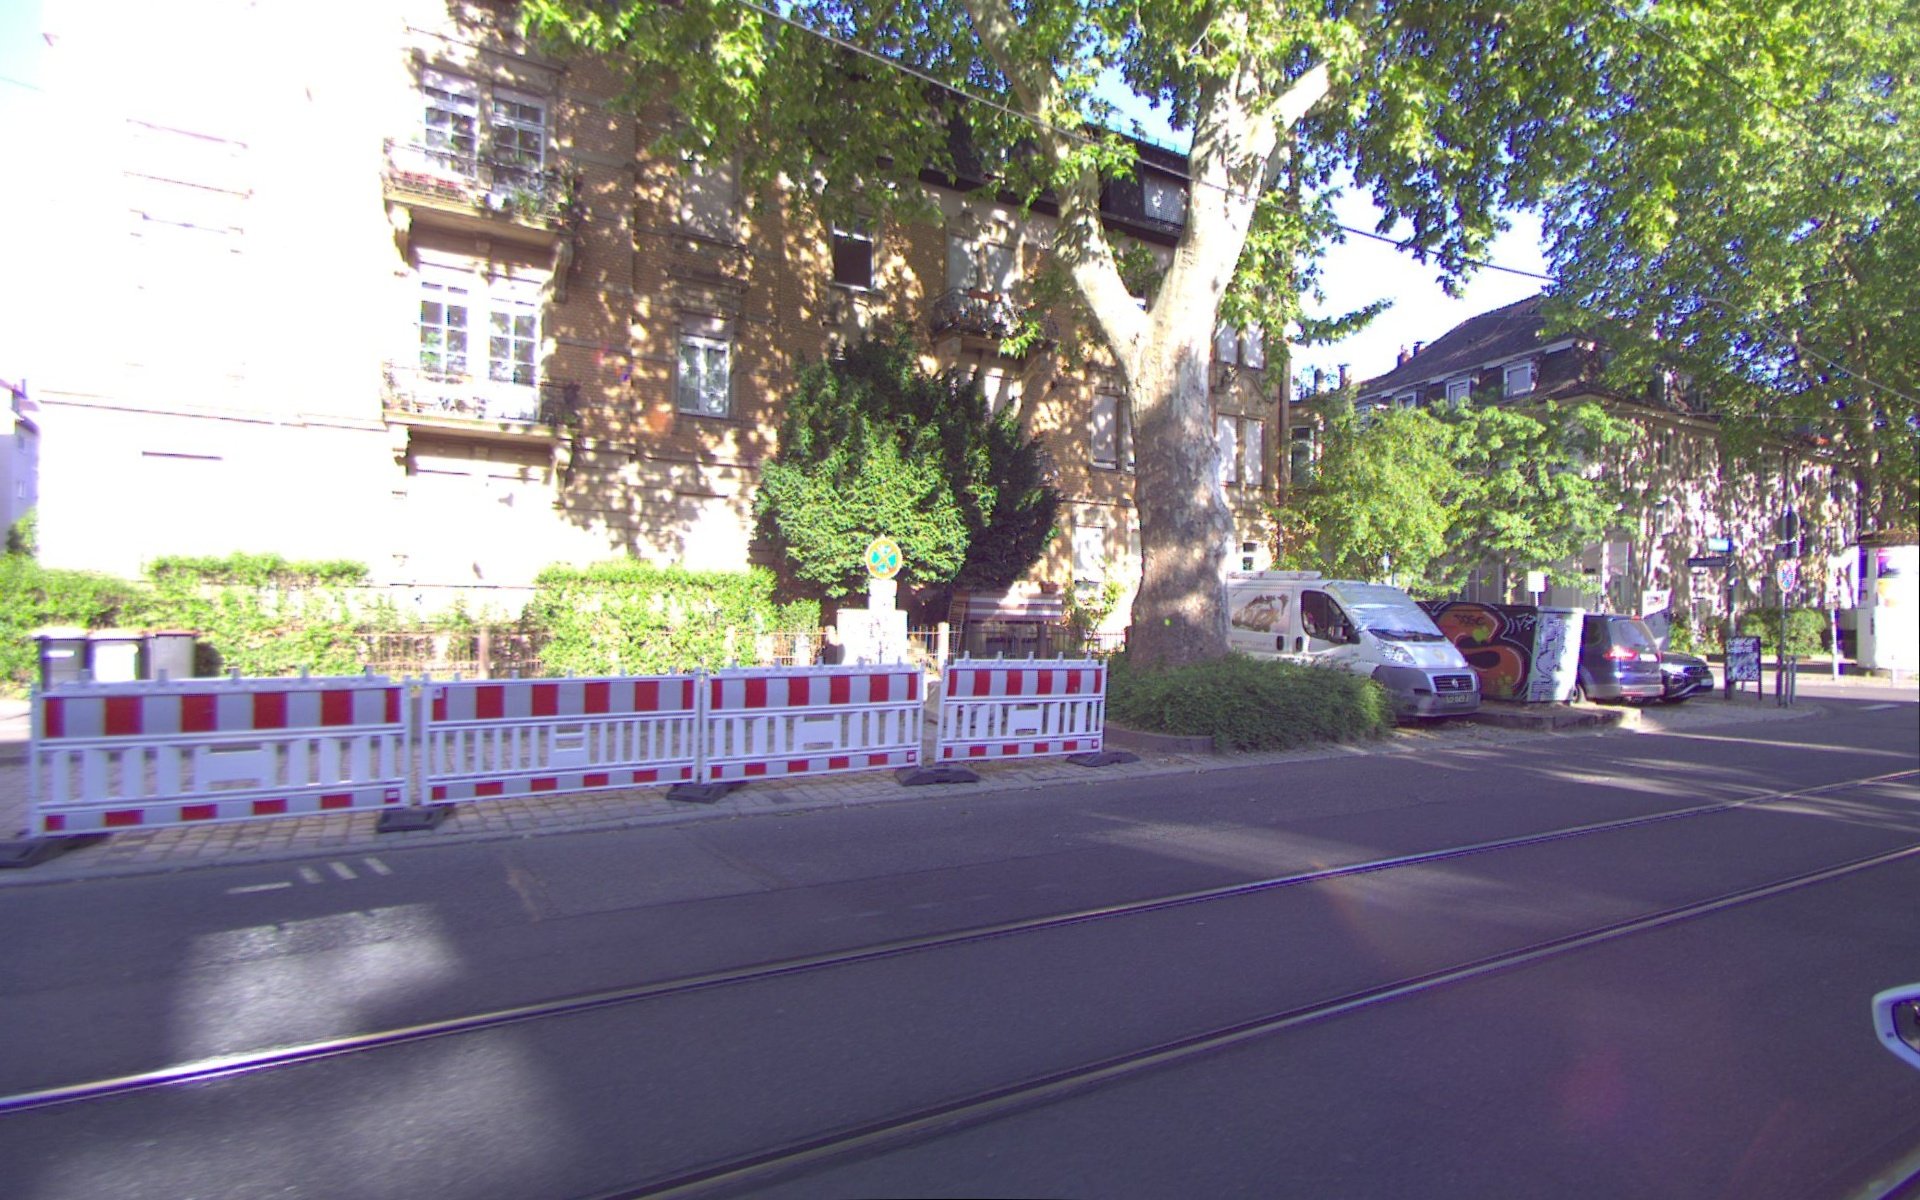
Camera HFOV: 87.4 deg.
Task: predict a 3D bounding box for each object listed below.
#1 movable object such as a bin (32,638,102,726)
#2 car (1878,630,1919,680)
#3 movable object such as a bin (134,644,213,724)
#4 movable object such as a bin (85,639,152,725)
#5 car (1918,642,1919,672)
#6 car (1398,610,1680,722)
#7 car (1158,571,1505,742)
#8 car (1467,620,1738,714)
[{"bbox_3d":[-12.101,1.095,13.623,0.536,1.124,0.721,1,0,-28],"label":"movable object such as a bin"},{"bbox_3d":[32.974,1.756,32.708,1.766,1.614,4.270,2,-5,-37],"label":"car"},{"bbox_3d":[-10.867,1.141,13.900,0.727,1.036,0.719,1,0,-28],"label":"movable object such as a bin"},{"bbox_3d":[-11.621,1.118,13.894,0.553,1.124,0.720,1,0,-28],"label":"movable object such as a bin"},{"bbox_3d":[35.283,2.000,33.726,1.695,1.307,4.270,2,-5,-37],"label":"car"},{"bbox_3d":[10.811,1.132,19.074,1.904,1.825,4.276,1,0,-32],"label":"car"},{"bbox_3d":[5.712,0.762,16.144,2.063,2.289,5.004,1,0,-33],"label":"car"},{"bbox_3d":[12.961,1.268,20.530,1.905,1.628,4.276,1,-1,-32],"label":"car"}]
